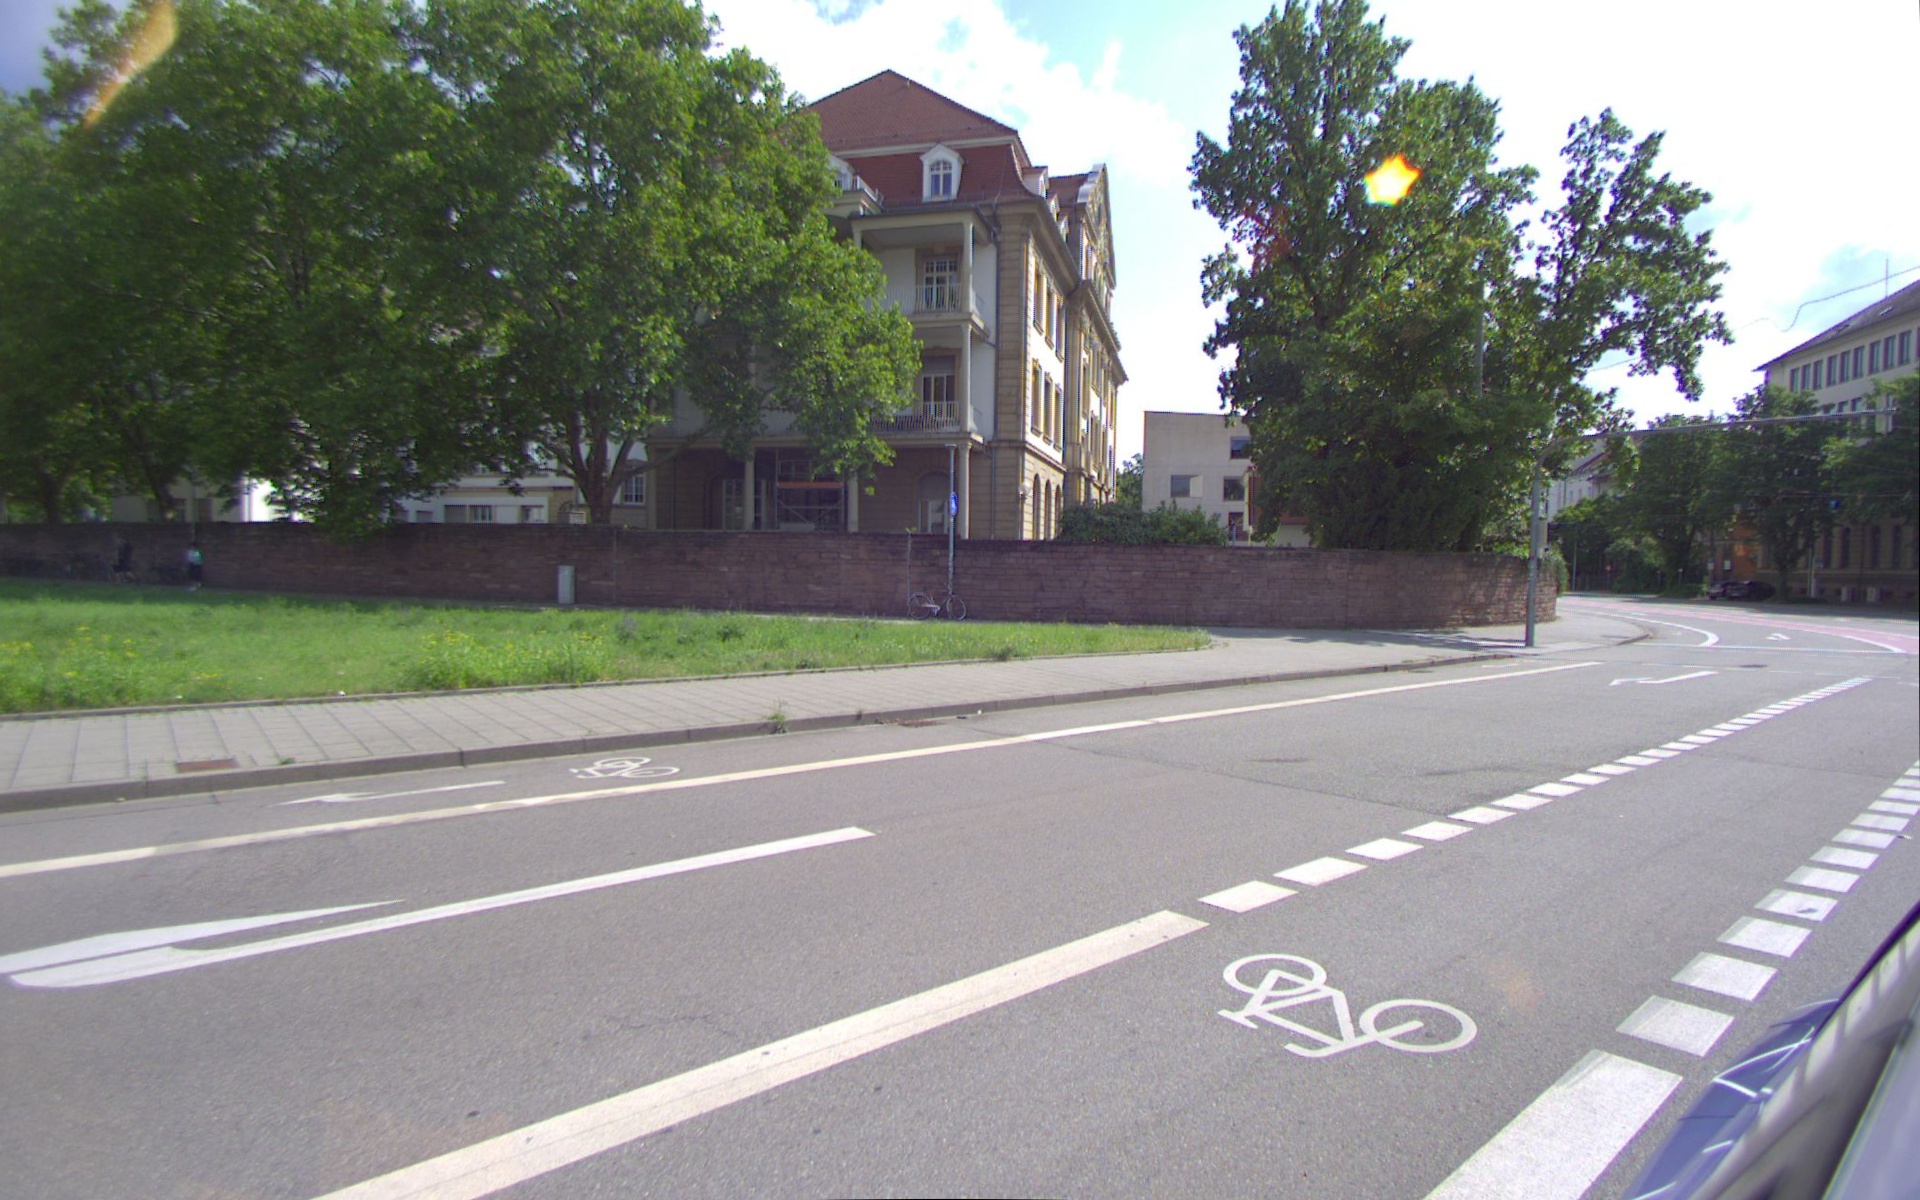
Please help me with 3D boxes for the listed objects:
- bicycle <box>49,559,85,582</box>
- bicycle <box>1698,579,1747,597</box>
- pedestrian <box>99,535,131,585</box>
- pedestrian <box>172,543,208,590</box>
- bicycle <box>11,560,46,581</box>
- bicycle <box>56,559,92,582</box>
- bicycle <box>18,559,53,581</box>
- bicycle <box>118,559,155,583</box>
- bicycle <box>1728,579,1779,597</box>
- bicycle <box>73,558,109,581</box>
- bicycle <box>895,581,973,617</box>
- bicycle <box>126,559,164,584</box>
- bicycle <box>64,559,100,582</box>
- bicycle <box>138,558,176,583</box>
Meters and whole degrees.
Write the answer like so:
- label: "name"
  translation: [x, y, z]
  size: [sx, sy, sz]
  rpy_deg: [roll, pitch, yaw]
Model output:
- label: "bicycle"
  translation: [-35.004, -1.148, 39.672]
  size: [0.478, 0.859, 0.964]
  rpy_deg: [2, 2, 27]
- label: "bicycle"
  translation: [60.004, -0.951, 79.634]
  size: [1.053, 1.221, 2.898]
  rpy_deg: [-4, 5, -33]
- label: "pedestrian"
  translation: [-29.697, -1.403, 35.581]
  size: [0.737, 1.744, 0.657]
  rpy_deg: [2, 2, 31]
- label: "pedestrian"
  translation: [-25.825, -1.147, 33.960]
  size: [0.718, 1.552, 0.719]
  rpy_deg: [2, 3, 28]
- label: "bicycle"
  translation: [-38.048, -1.211, 41.334]
  size: [0.478, 0.859, 0.964]
  rpy_deg: [2, 2, 27]
- label: "bicycle"
  translation: [-34.512, -1.149, 39.426]
  size: [0.478, 0.859, 0.964]
  rpy_deg: [2, 2, 27]
- label: "bicycle"
  translation: [-37.531, -1.212, 41.084]
  size: [0.478, 0.859, 0.964]
  rpy_deg: [2, 2, 27]
- label: "bicycle"
  translation: [-30.020, -1.049, 36.898]
  size: [0.478, 0.859, 0.964]
  rpy_deg: [2, 2, 27]
- label: "bicycle"
  translation: [59.871, -0.899, 76.384]
  size: [1.030, 1.221, 2.898]
  rpy_deg: [-4, 5, -33]
- label: "bicycle"
  translation: [-33.340, -1.153, 38.822]
  size: [0.478, 0.859, 0.964]
  rpy_deg: [2, 2, 27]
- label: "bicycle"
  translation: [-0.678, -0.033, 27.120]
  size: [2.023, 0.871, 0.859]
  rpy_deg: [2, 4, 4]
- label: "bicycle"
  translation: [-29.461, -1.028, 36.605]
  size: [0.478, 0.859, 0.964]
  rpy_deg: [2, 2, 27]
- label: "bicycle"
  translation: [-33.937, -1.151, 39.132]
  size: [0.478, 0.859, 0.964]
  rpy_deg: [2, 2, 27]
- label: "bicycle"
  translation: [-28.833, -1.051, 36.349]
  size: [0.478, 0.859, 0.964]
  rpy_deg: [2, 2, 27]
